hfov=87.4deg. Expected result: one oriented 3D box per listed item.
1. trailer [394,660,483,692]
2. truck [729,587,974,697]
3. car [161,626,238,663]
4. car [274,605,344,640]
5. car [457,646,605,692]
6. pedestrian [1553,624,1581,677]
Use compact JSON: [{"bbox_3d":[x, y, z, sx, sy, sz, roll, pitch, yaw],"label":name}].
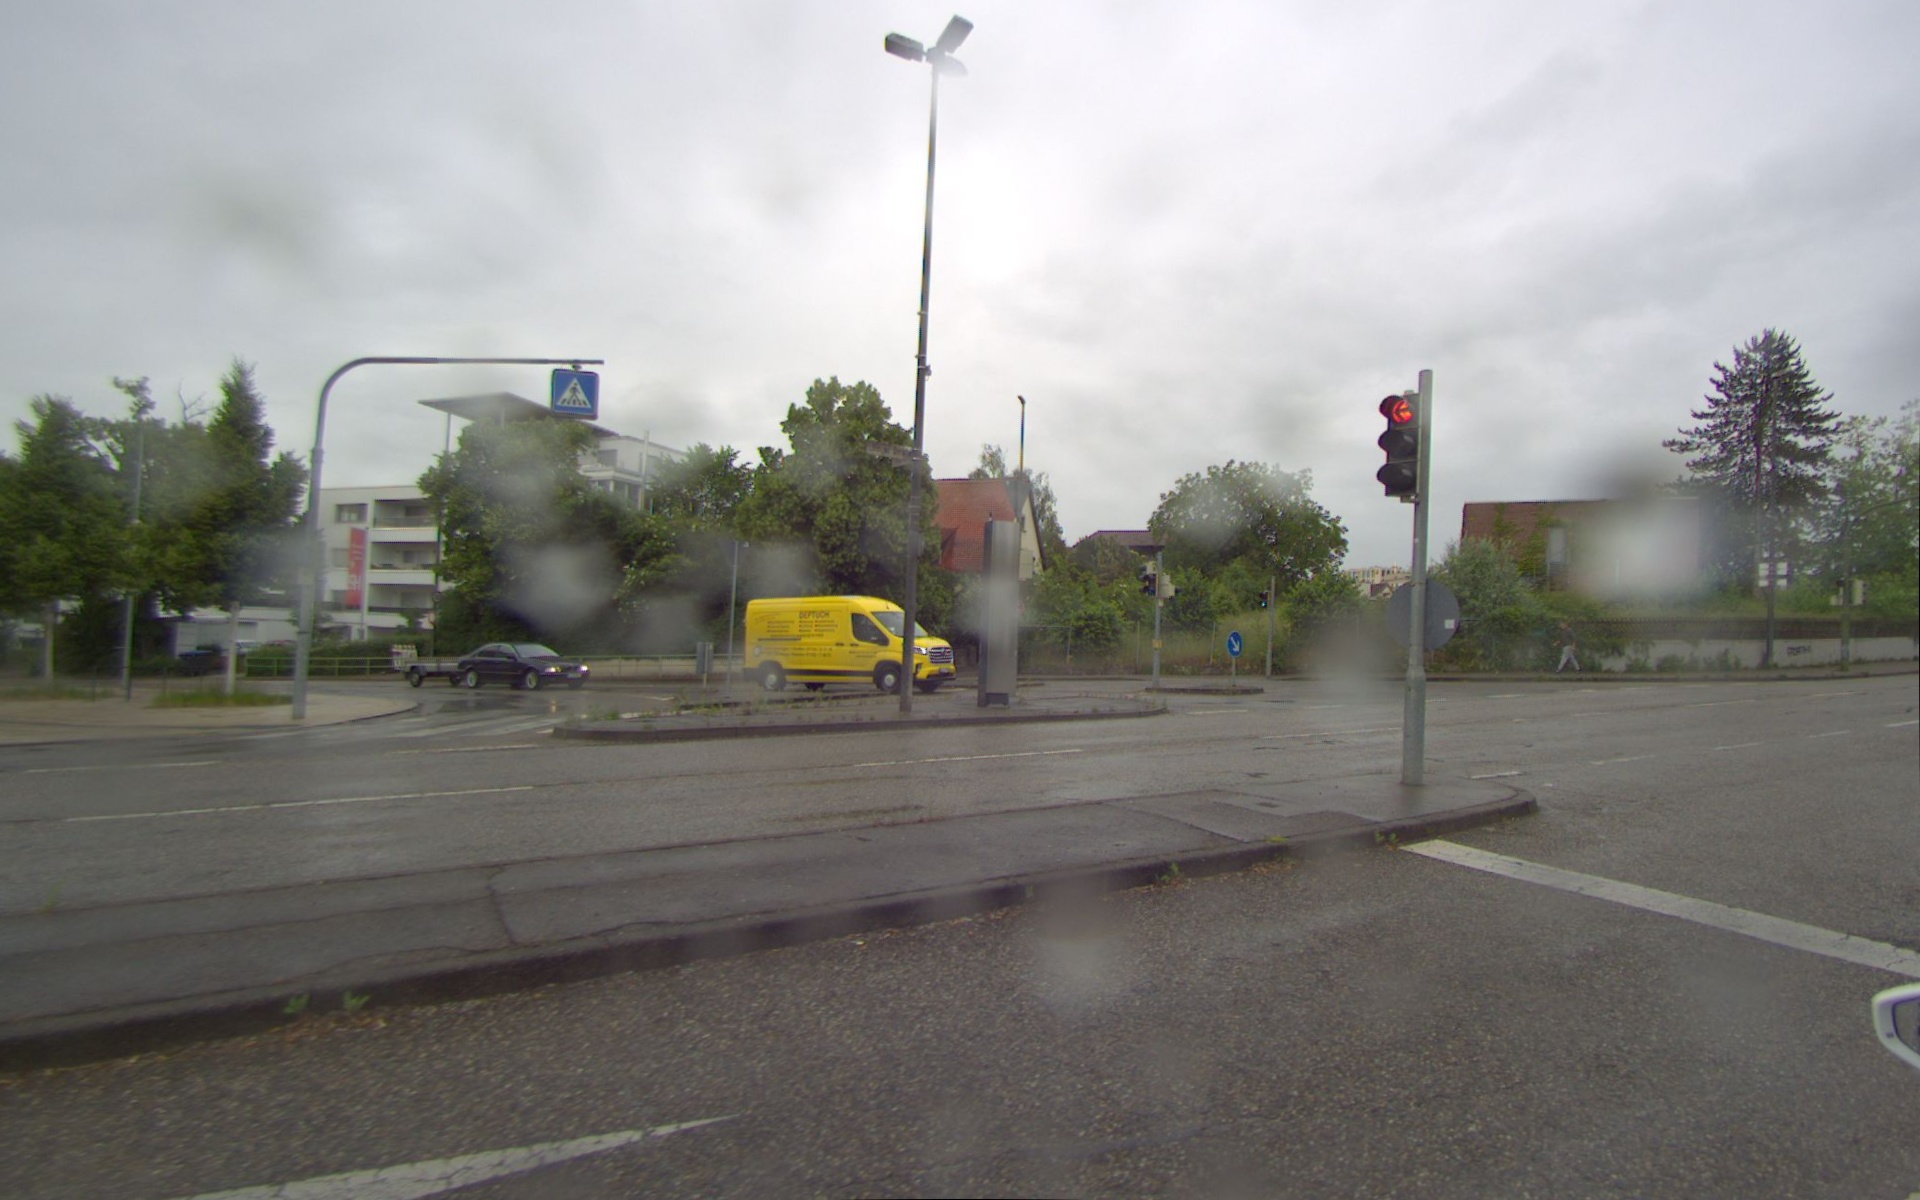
[{"bbox_3d":[-17.228,2.487,33.199,2.244,0.991,1.607,-2,-4,26],"label":"trailer"},{"bbox_3d":[-2.832,1.122,25.918,6.062,2.571,2.226,-2,-3,27],"label":"truck"},{"bbox_3d":[-45.676,2.648,60.352,3.921,2.040,1.791,2,0,20],"label":"car"},{"bbox_3d":[-42.207,1.438,65.132,3.921,2.040,1.791,2,0,20],"label":"car"},{"bbox_3d":[-13.254,2.104,31.034,4.275,1.335,1.863,-2,-4,27],"label":"car"},{"bbox_3d":[19.283,1.612,31.919,0.490,1.663,0.553,0,-2,0],"label":"pedestrian"}]
